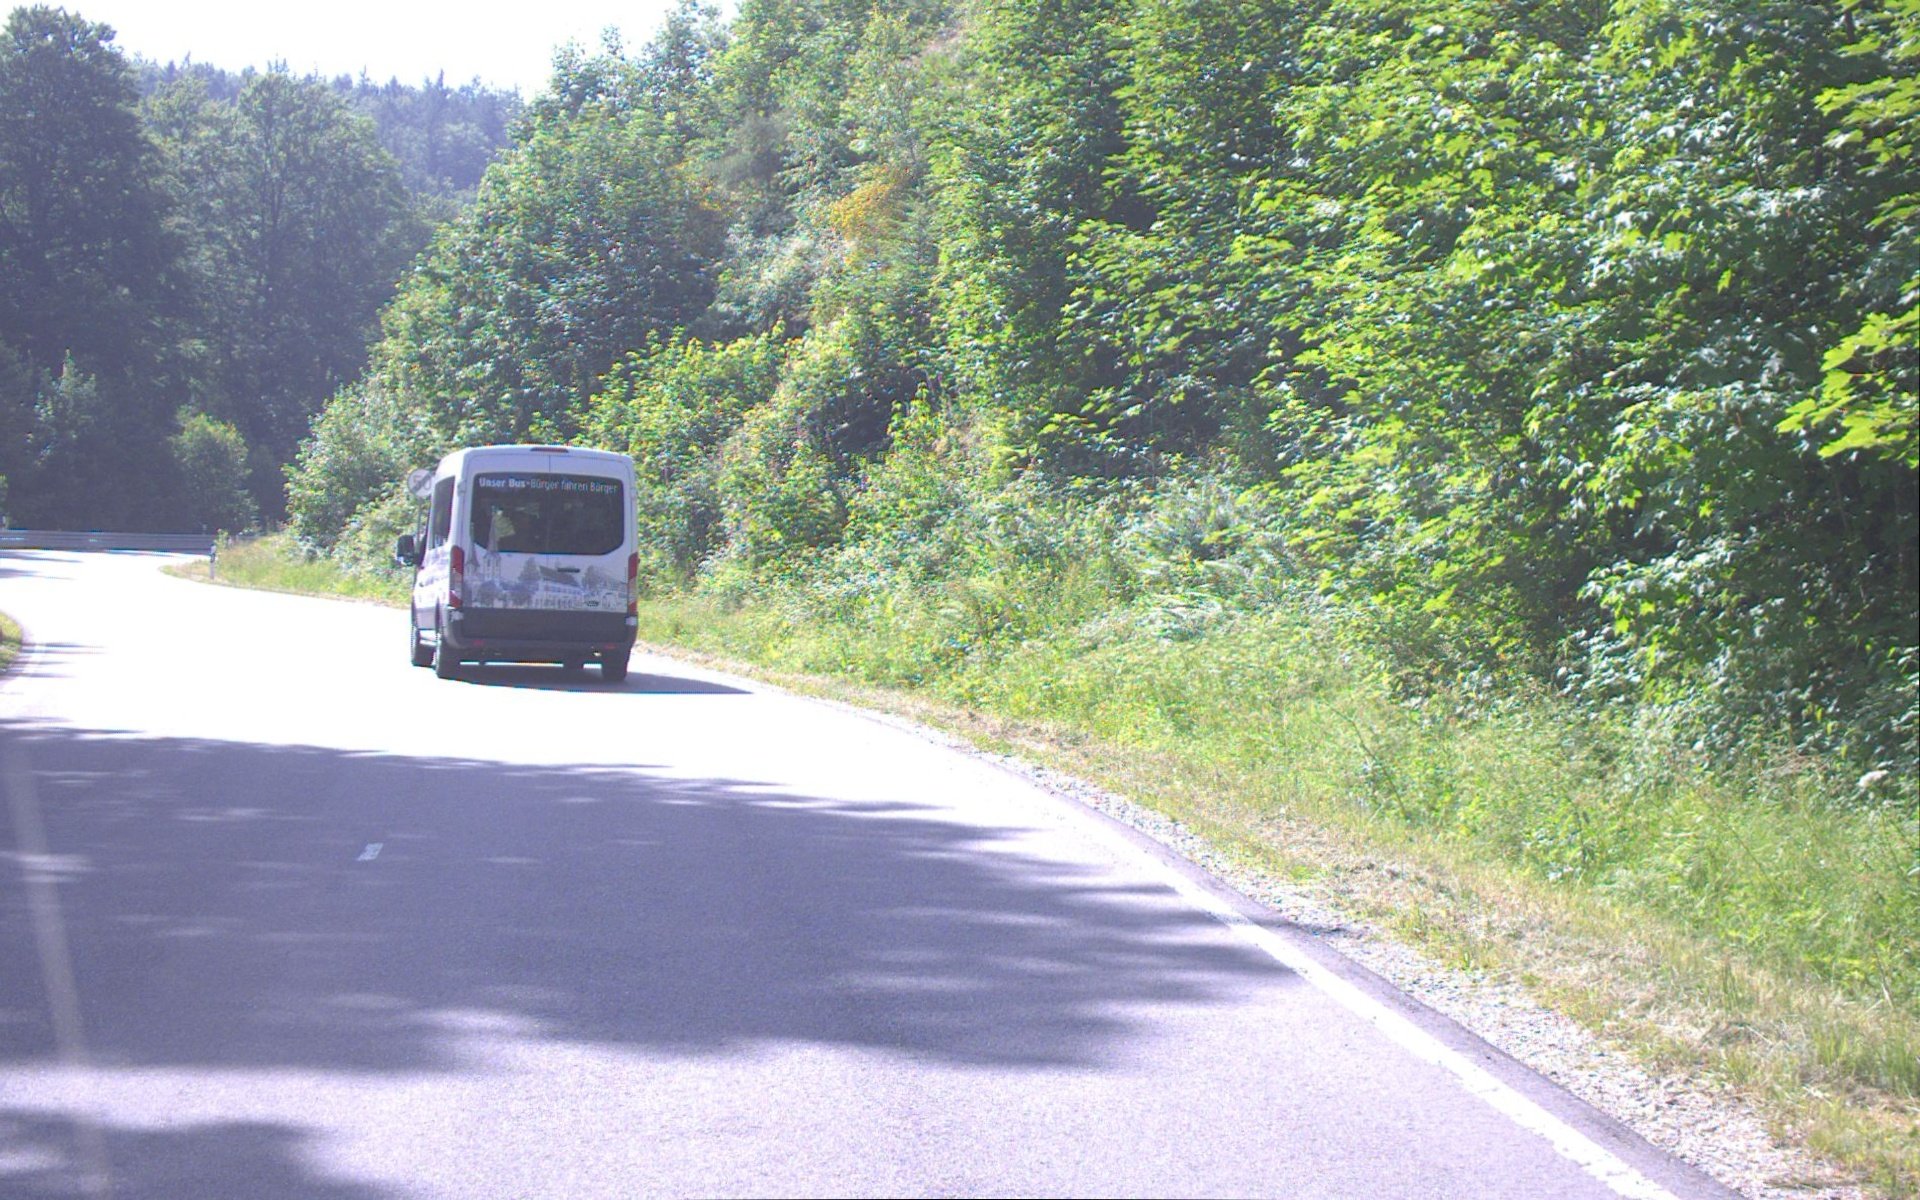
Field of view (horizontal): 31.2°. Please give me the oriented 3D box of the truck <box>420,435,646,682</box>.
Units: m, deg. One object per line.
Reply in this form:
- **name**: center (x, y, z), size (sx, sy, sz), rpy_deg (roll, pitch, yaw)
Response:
- **truck**: center (-4.773, -0.491, 37.774), size (2.115, 2.489, 5.361), rpy_deg (1, 1, -10)
